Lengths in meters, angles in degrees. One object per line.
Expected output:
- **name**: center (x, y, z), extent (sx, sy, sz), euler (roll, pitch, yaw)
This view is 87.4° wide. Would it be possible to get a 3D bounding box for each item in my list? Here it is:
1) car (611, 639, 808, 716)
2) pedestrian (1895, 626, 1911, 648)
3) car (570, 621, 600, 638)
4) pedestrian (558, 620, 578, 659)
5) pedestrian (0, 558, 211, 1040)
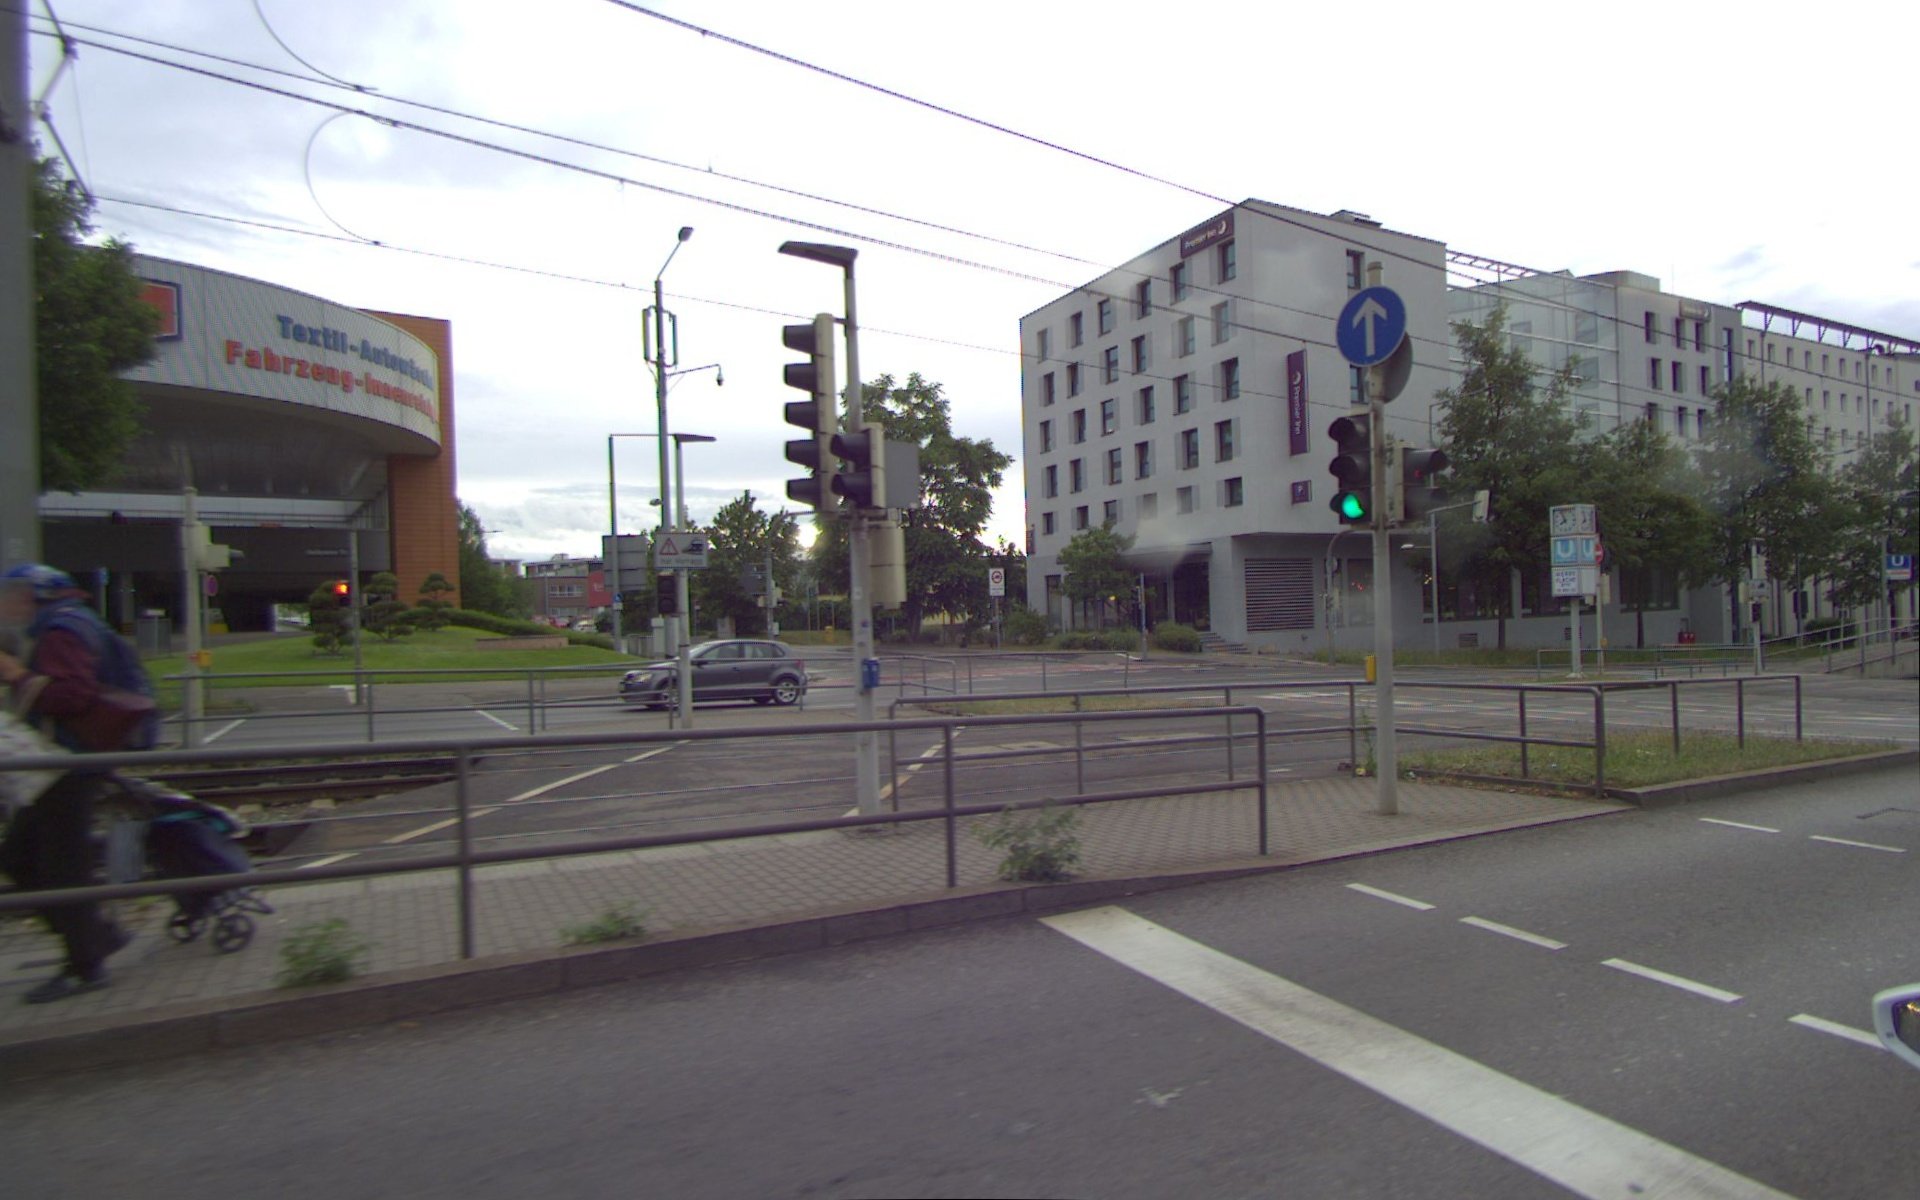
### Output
- **car**: center (-5.281, 1.579, 21.250), extent (3.735, 1.442, 1.720), euler (1, -1, -31)
- **pedestrian**: center (68.917, 2.681, 73.395), extent (0.824, 1.599, 0.598), euler (1, 0, -27)
- **car**: center (-36.294, 2.826, 97.192), extent (1.856, 1.617, 3.936), euler (1, -1, -35)
- **pedestrian**: center (-21.160, 2.127, 54.212), extent (0.772, 2.057, 0.875), euler (1, -1, -40)
- **pedestrian**: center (-3.462, 0.692, 3.925), extent (0.690, 1.672, 0.648), euler (0, 0, 32)
